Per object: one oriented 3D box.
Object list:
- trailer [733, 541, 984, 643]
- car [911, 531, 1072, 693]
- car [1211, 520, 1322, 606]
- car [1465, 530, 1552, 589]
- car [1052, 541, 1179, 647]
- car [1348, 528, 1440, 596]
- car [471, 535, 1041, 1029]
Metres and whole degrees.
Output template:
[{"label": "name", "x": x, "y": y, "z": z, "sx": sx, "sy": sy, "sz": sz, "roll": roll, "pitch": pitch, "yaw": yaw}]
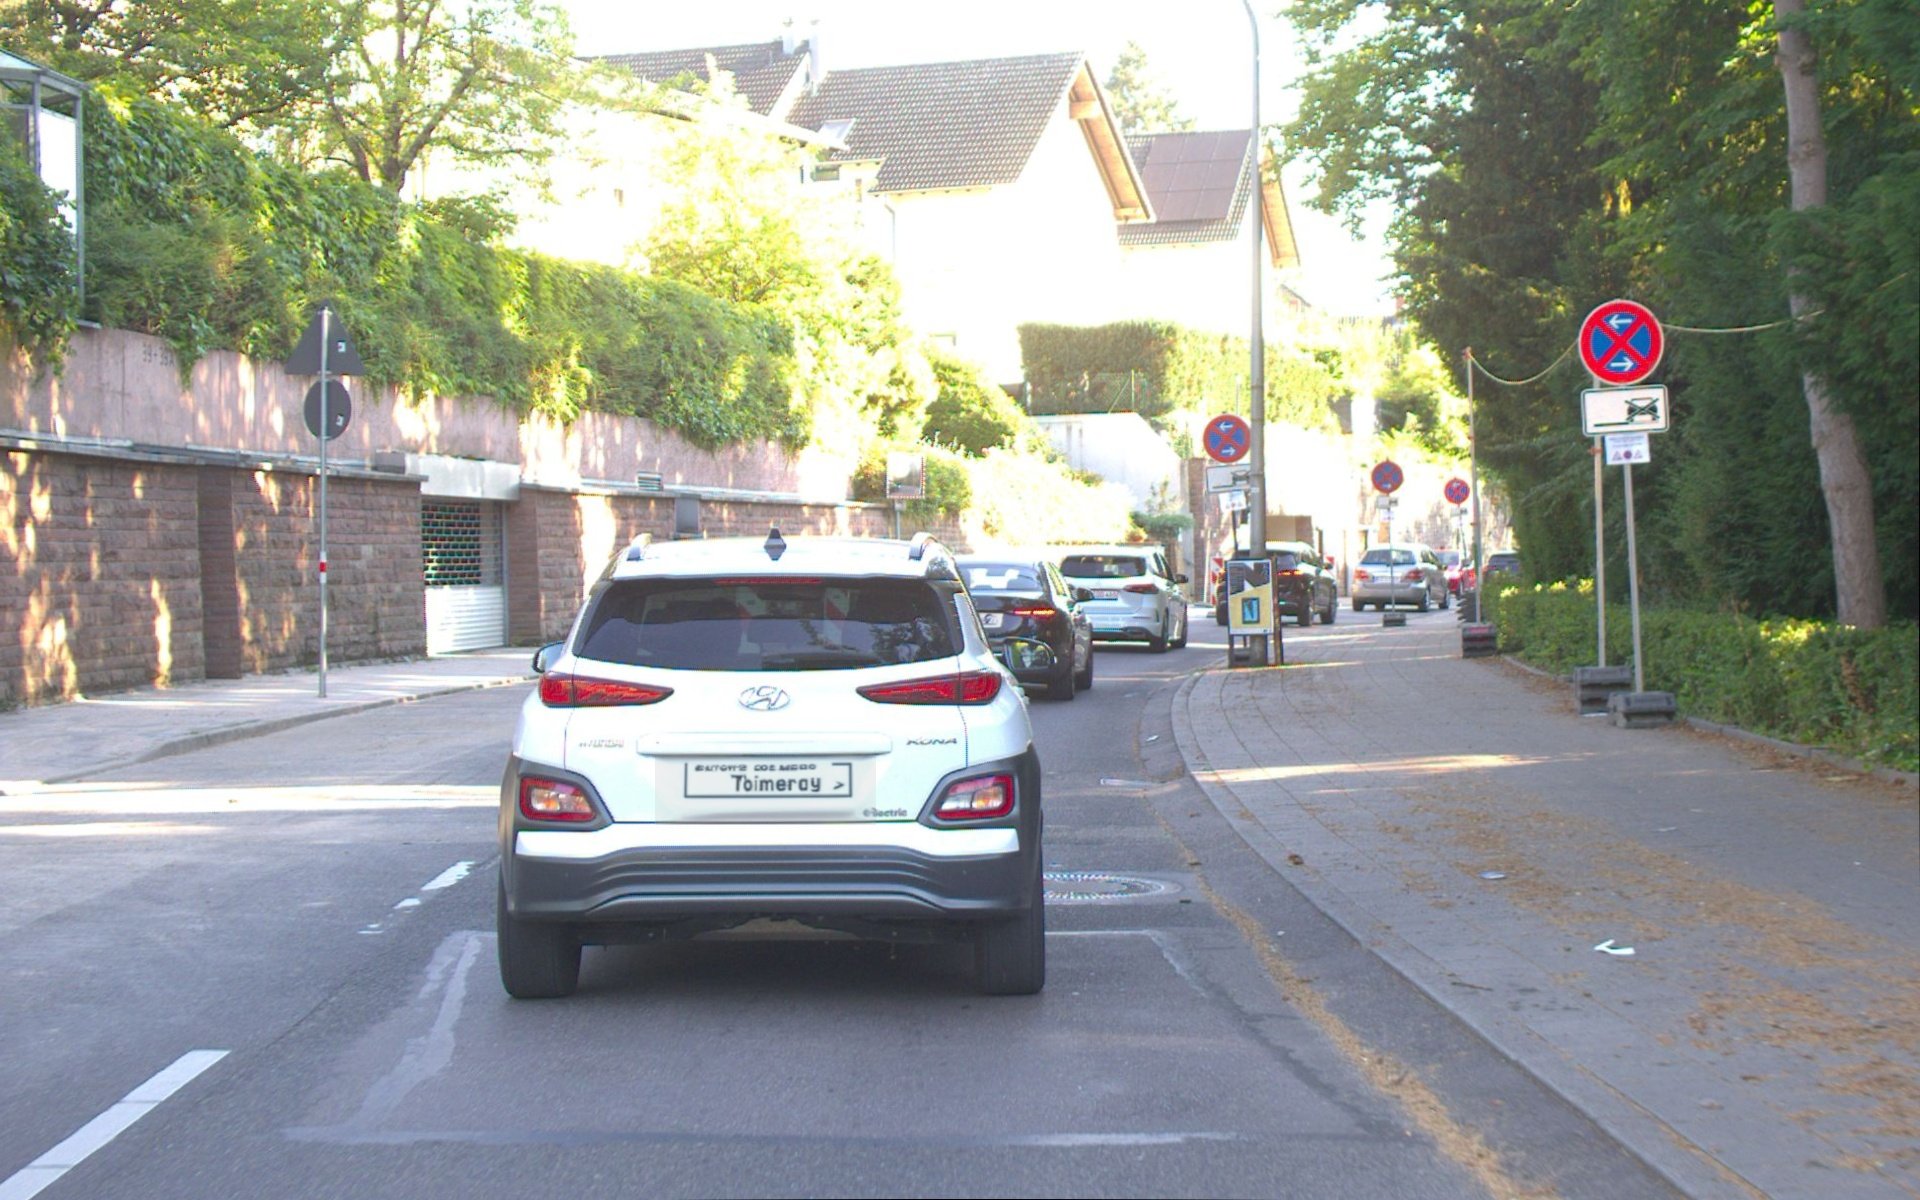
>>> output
[{"label": "trailer", "x": -1.494, "y": -0.171, "z": 54.797, "sx": 2.641, "sy": 1.484, "sz": 7.116, "roll": 1, "pitch": 1, "yaw": 10}, {"label": "car", "x": 0.328, "y": 0.083, "z": 34.724, "sx": 1.512, "sy": 1.528, "sz": 3.548, "roll": -1, "pitch": 1, "yaw": 1}, {"label": "car", "x": 6.024, "y": -0.746, "z": 67.313, "sx": 1.694, "sy": 1.528, "sz": 3.880, "roll": -4, "pitch": 1, "yaw": 11}, {"label": "car", "x": 15.483, "y": -1.150, "z": 96.930, "sx": 1.695, "sy": 1.499, "sz": 3.627, "roll": -3, "pitch": 1, "yaw": 20}, {"label": "car", "x": 2.291, "y": -0.111, "z": 49.992, "sx": 1.571, "sy": 1.472, "sz": 3.547, "roll": 0, "pitch": 1, "yaw": 7}, {"label": "car", "x": 10.293, "y": -0.910, "z": 81.383, "sx": 1.694, "sy": 1.442, "sz": 3.879, "roll": -3, "pitch": 1, "yaw": 13}, {"label": "car", "x": -0.658, "y": 0.534, "z": 12.728, "sx": 1.772, "sy": 1.537, "sz": 4.000, "roll": 0, "pitch": 1, "yaw": -1}]
